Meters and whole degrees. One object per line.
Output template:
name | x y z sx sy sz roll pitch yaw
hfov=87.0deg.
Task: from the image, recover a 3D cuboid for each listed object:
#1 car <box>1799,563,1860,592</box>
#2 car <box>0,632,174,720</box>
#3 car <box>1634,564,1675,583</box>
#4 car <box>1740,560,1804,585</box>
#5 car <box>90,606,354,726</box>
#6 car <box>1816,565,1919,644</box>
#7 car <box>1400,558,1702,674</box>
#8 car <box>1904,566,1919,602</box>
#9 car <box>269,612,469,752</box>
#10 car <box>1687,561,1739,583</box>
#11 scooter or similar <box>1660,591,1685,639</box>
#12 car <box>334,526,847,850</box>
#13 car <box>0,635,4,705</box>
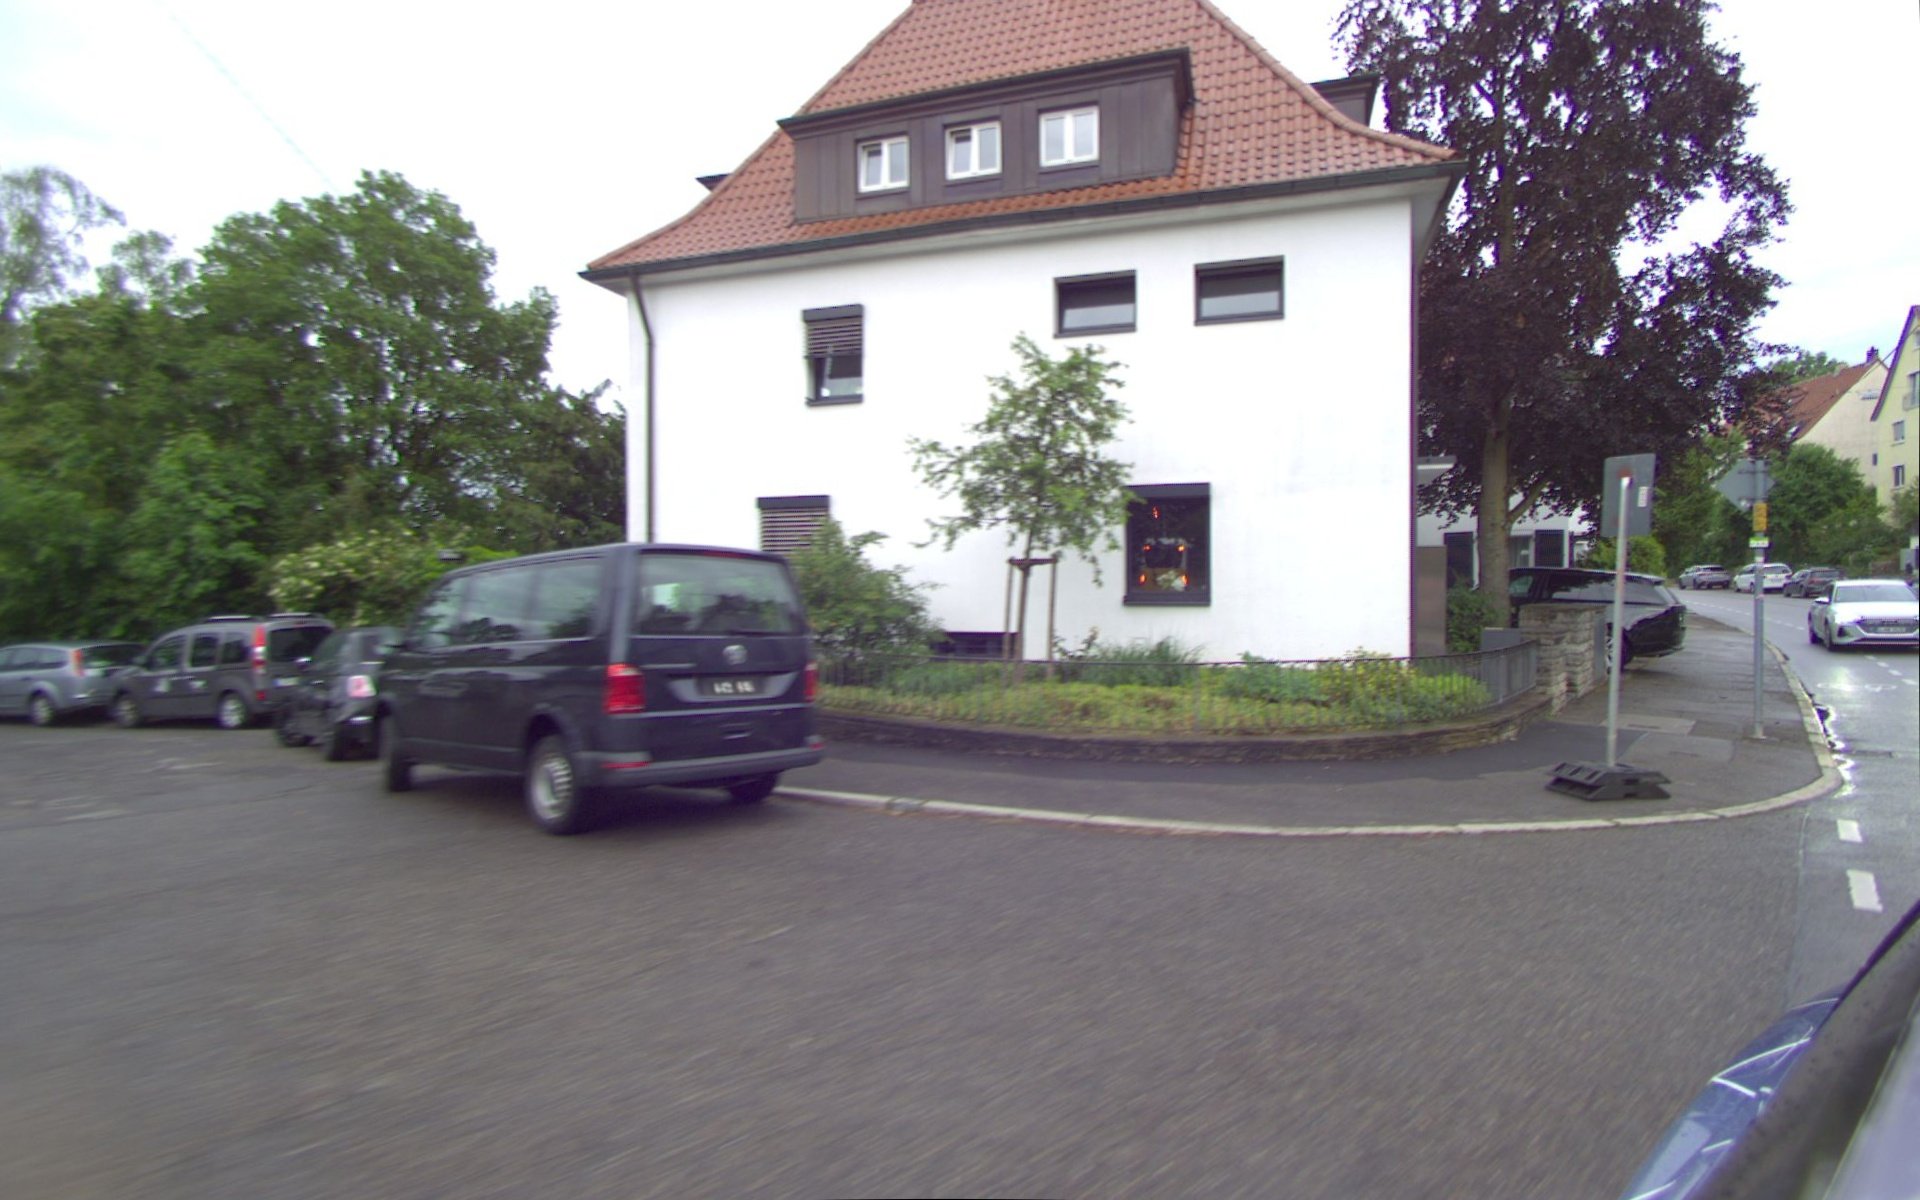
car | 44.116 -1.128 51.422 1.666 1.390 3.405 -2 0 30
car | -17.286 1.416 19.228 3.944 1.482 1.762 -2 0 17
car | 55.282 -2.123 80.637 1.660 1.390 4.405 -2 0 21
car | 47.494 -1.609 59.278 1.661 1.389 4.405 2 1 21
car | -12.765 1.095 17.542 3.947 1.883 1.761 -2 0 19
car | 21.666 0.081 23.860 1.784 1.720 3.844 -2 0 34
car | 11.191 0.192 19.366 4.724 1.831 1.915 4 3 39
car | 37.510 -0.619 38.256 1.663 1.390 3.410 -2 0 26
car | -7.206 0.989 12.227 1.301 1.460 3.258 5 -7 -44
car | 51.146 -1.880 68.801 1.660 1.390 4.405 -2 0 21
scooter or similar | 17.633 0.359 25.028 0.445 1.145 1.258 0 1 38
car | -3.325 0.499 8.499 4.901 1.972 1.912 0 1 41
car | -22.384 1.536 21.222 3.947 1.482 1.761 -2 0 18
